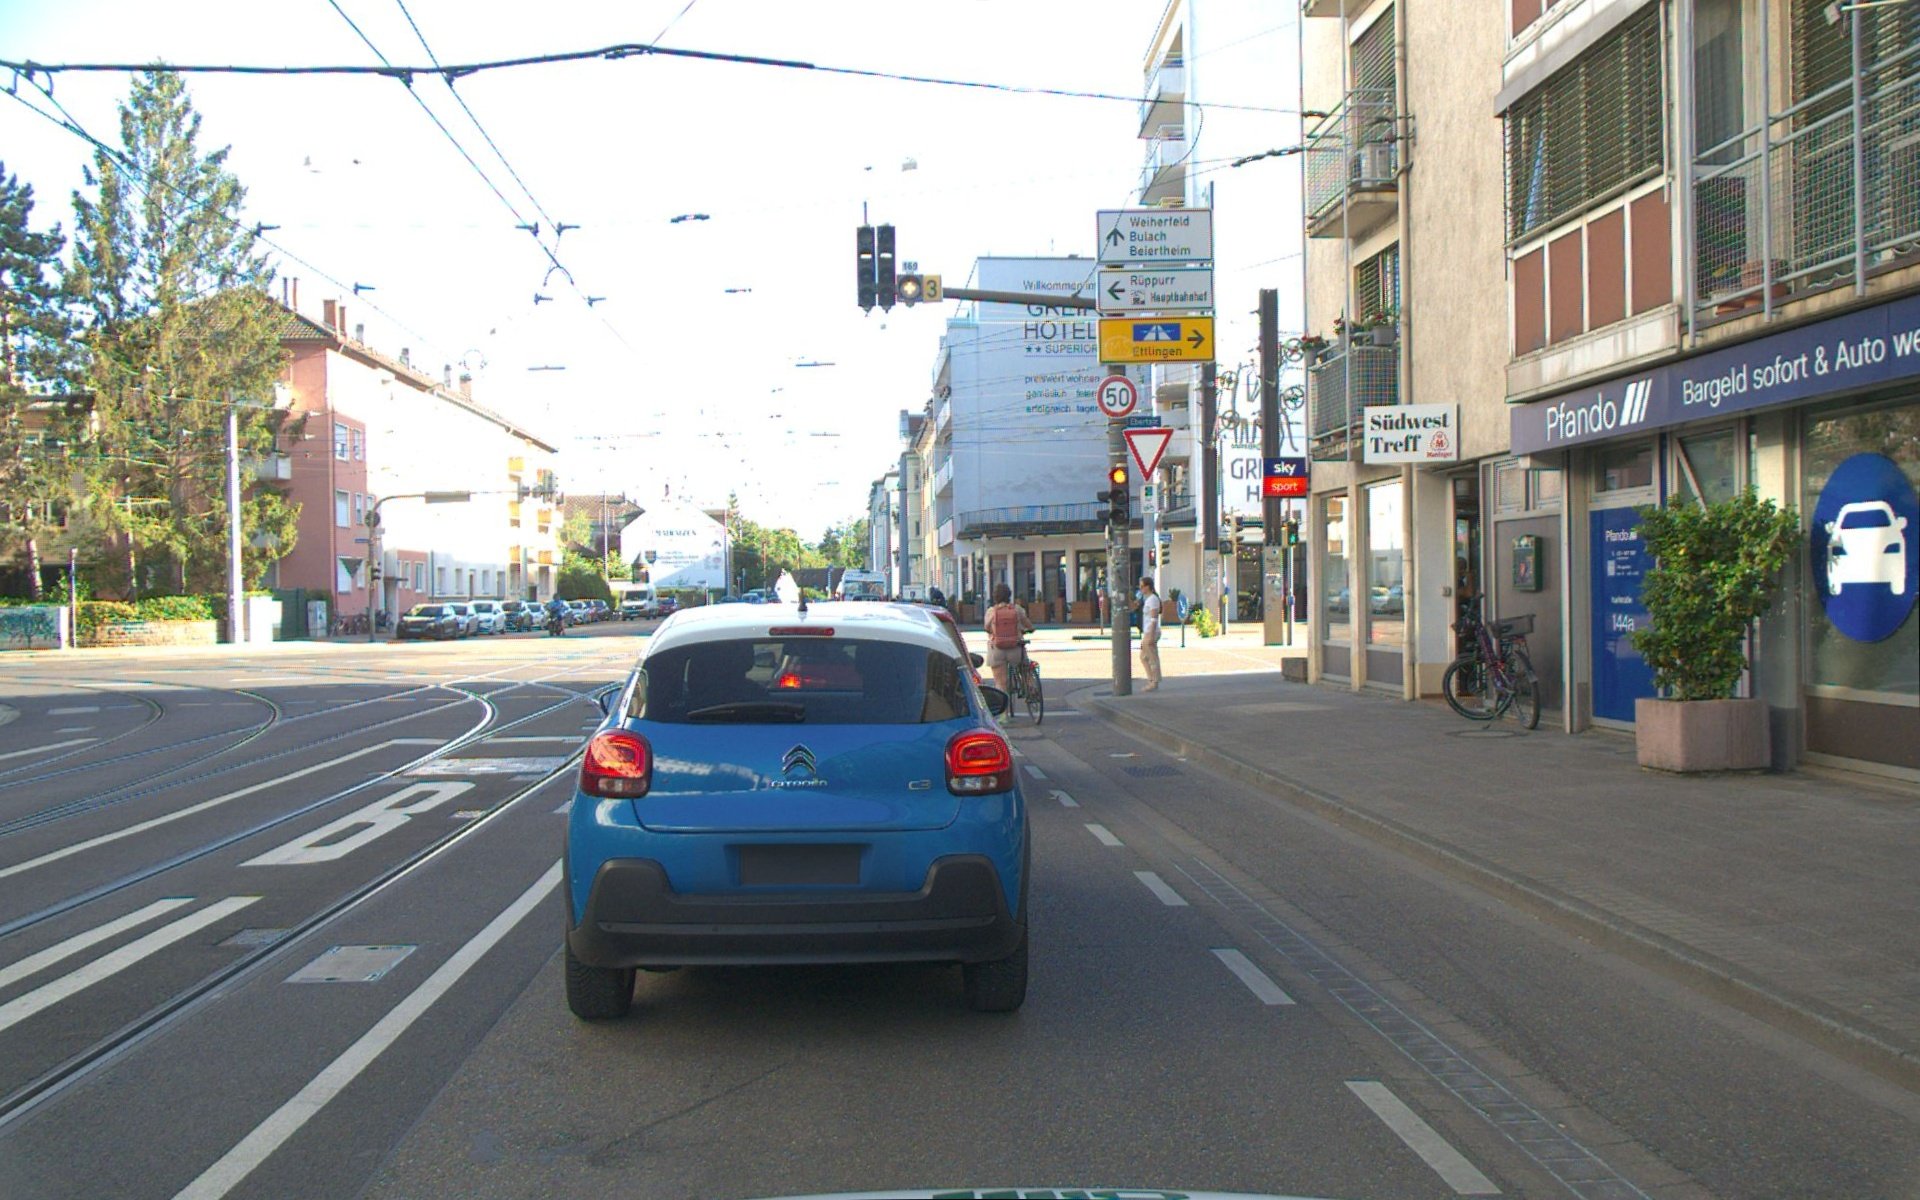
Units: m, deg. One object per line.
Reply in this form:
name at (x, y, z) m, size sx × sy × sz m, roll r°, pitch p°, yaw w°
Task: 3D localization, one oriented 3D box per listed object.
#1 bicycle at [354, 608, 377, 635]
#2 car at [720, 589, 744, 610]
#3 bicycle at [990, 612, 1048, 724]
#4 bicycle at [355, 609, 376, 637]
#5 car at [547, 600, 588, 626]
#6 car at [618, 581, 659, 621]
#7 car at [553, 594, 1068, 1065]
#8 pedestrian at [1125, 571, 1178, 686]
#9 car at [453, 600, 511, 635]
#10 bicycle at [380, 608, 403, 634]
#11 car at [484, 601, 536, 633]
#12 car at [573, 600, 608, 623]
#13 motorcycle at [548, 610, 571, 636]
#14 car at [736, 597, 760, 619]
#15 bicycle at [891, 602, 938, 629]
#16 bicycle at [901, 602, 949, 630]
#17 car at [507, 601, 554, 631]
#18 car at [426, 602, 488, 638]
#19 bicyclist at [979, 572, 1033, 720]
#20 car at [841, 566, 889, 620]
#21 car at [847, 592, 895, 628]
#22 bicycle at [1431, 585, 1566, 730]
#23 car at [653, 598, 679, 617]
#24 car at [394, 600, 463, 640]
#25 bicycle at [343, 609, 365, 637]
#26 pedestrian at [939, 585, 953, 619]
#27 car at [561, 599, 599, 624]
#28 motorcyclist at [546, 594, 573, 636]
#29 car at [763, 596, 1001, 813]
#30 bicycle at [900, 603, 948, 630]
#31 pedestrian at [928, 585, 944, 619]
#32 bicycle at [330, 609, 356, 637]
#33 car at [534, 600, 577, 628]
bicycle at (-25.875, 0.927, 71.986) m, size 0.527 × 1.101 × 1.908 m, roll -1°, pitch 0°, yaw -7°
car at (-19.133, -0.037, 138.872) m, size 1.967 × 1.656 × 5.045 m, roll -1°, pitch 0°, yaw -7°
bicycle at (0.718, 0.817, 20.634) m, size 0.601 × 1.286 × 1.910 m, roll -1°, pitch 0°, yaw -1°
bicycle at (-24.231, 0.936, 67.415) m, size 0.527 × 1.101 × 1.905 m, roll -1°, pitch 0°, yaw -11°
car at (-24.408, 0.806, 102.989) m, size 1.913 × 1.545 × 3.995 m, roll -1°, pitch 0°, yaw -6°
car at (-23.223, 0.066, 119.576) m, size 2.446 × 2.759 × 5.828 m, roll -1°, pitch 0°, yaw -7°
car at (-0.616, 0.734, 7.348) m, size 1.647 × 1.488 × 3.997 m, roll 1°, pitch 0°, yaw -4°
pedestrian at (2.823, 0.415, 24.406) m, size 0.735 × 1.663 × 0.740 m, roll -1°, pitch 0°, yaw 5°
car at (-22.756, 0.819, 78.860) m, size 1.913 × 1.545 × 3.995 m, roll -1°, pitch 0°, yaw -6°
bicycle at (-25.673, 0.940, 74.691) m, size 0.597 × 1.101 × 1.908 m, roll -1°, pitch 0°, yaw -7°
car at (-23.234, 0.839, 85.517) m, size 1.913 × 1.545 × 3.995 m, roll -1°, pitch 0°, yaw -6°
car at (-25.566, 0.787, 114.593) m, size 1.913 × 1.545 × 3.995 m, roll -1°, pitch 0°, yaw -6°
motorcycle at (-16.227, 0.940, 67.019) m, size 0.738 × 0.993 × 2.092 m, roll -1°, pitch 0°, yaw -9°
car at (-21.808, 0.804, 170.492) m, size 2.293 × 2.074 × 5.044 m, roll -1°, pitch 0°, yaw -6°
bicycle at (-1.861, 0.643, 68.269) m, size 1.868 × 1.083 × 0.641 m, roll -1°, pitch 0°, yaw -8°
bicycle at (-1.394, 0.641, 65.778) m, size 1.868 × 1.083 × 0.641 m, roll -1°, pitch 0°, yaw -8°
car at (-23.764, 0.854, 91.567) m, size 1.913 × 1.545 × 3.995 m, roll -1°, pitch 0°, yaw -6°
car at (-22.555, 0.876, 74.255) m, size 1.913 × 1.545 × 4.040 m, roll -1°, pitch 0°, yaw -6°
bicyclist at (0.565, 0.554, 20.594) m, size 0.588 × 1.776 × 1.084 m, roll -1°, pitch 0°, yaw -1°
car at (-4.232, -0.318, 73.176) m, size 2.039 × 2.309 × 5.646 m, roll 0°, pitch 0°, yaw -4°
car at (-3.677, 0.384, 67.738) m, size 1.752 × 1.383 × 3.909 m, roll -1°, pitch 0°, yaw -6°
bicycle at (5.110, 0.508, 15.817) m, size 0.627 × 1.286 × 1.910 m, roll -1°, pitch 0°, yaw -1°
car at (-25.573, 0.641, 144.165) m, size 1.913 × 1.545 × 3.995 m, roll -1°, pitch 0°, yaw -6°
car at (-22.016, 0.791, 68.650) m, size 1.913 × 1.545 × 3.995 m, roll -1°, pitch 0°, yaw -6°
bicycle at (-24.589, 0.928, 67.116) m, size 0.527 × 1.101 × 1.905 m, roll -1°, pitch 0°, yaw -11°
pedestrian at (-0.586, 0.085, 69.991) m, size 0.459 × 1.445 × 0.525 m, roll -1°, pitch 0°, yaw -13°
car at (-24.850, 0.748, 108.262) m, size 1.913 × 1.545 × 3.995 m, roll -1°, pitch 0°, yaw -6°
motorcyclist at (-16.206, 0.607, 66.951) m, size 0.973 × 1.659 × 0.737 m, roll -1°, pitch 0°, yaw -10°
car at (-0.682, 0.730, 13.557) m, size 1.647 × 1.488 × 3.997 m, roll 1°, pitch 0°, yaw -4°
bicycle at (-1.447, 0.665, 67.082) m, size 1.868 × 1.083 × 0.641 m, roll -1°, pitch 0°, yaw -8°
pedestrian at (-1.011, 0.090, 70.236) m, size 0.514 × 1.445 × 0.547 m, roll -1°, pitch 0°, yaw 19°
bicycle at (-24.983, 0.918, 66.990) m, size 0.628 × 1.101 × 1.905 m, roll -1°, pitch 0°, yaw -11°
car at (-23.934, 0.821, 97.992) m, size 1.913 × 1.545 × 3.995 m, roll -1°, pitch 0°, yaw -6°
